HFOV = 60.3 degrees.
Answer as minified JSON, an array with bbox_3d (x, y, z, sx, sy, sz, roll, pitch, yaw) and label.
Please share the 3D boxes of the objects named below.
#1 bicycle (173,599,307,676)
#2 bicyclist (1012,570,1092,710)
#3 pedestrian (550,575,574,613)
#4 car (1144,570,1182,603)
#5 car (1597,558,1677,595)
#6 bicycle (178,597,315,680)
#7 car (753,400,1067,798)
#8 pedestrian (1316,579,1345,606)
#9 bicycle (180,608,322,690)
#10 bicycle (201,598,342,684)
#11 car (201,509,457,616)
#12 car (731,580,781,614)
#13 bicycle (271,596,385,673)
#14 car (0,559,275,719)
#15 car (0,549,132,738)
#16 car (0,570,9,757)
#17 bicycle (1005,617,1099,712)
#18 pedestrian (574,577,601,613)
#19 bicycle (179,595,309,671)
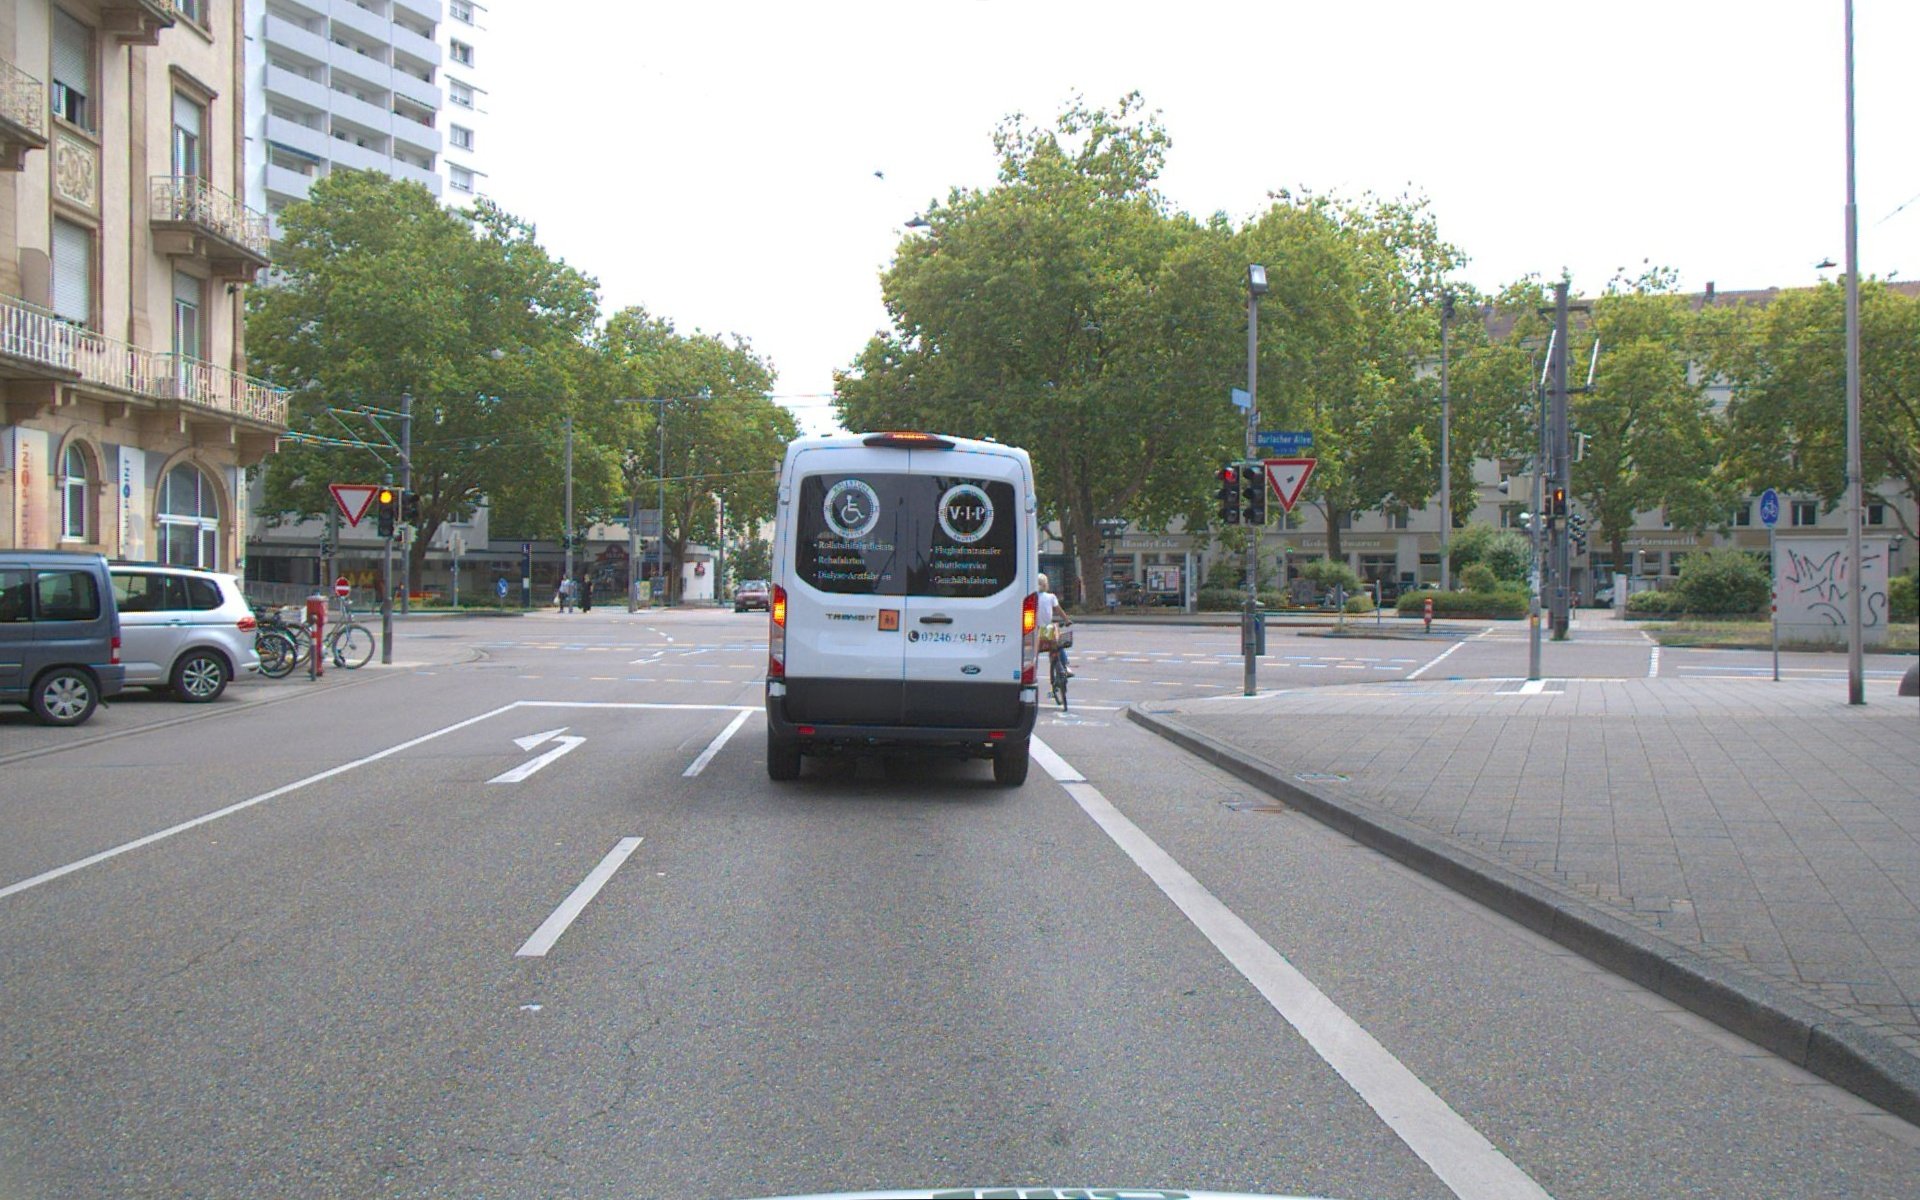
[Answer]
[{"bbox_3d":[-11.177,0.579,25.726,1.777,1.140,0.592,2,0,-11],"label":"bicycle"},{"bbox_3d":[1.144,0.486,20.679,0.886,1.713,0.756,0,1,-6],"label":"bicyclist"},{"bbox_3d":[-16.855,-0.270,70.055,0.790,1.600,0.724,0,1,11],"label":"pedestrian"},{"bbox_3d":[12.648,-0.850,103.278,1.952,1.964,4.001,0,1,1],"label":"car"},{"bbox_3d":[36.263,-1.247,88.648,3.905,1.915,1.857,0,1,21],"label":"car"},{"bbox_3d":[-10.821,0.579,25.135,1.777,1.186,0.592,2,0,-11],"label":"bicycle"},{"bbox_3d":[-0.508,-0.074,13.608,2.139,2.694,4.624,0,1,-5],"label":"car"},{"bbox_3d":[17.785,-0.356,79.395,1.069,1.257,1.441,-2,0,1],"label":"pedestrian"},{"bbox_3d":[-10.175,0.696,23.763,1.771,1.140,0.594,0,0,3],"label":"bicycle"},{"bbox_3d":[-10.161,0.601,24.435,1.772,1.139,0.594,3,0,1],"label":"bicycle"},{"bbox_3d":[-24.943,-1.455,65.364,9.682,3.983,3.455,0,1,22],"label":"car"},{"bbox_3d":[-9.540,-0.164,77.544,1.587,1.502,4.003,0,1,4],"label":"car"},{"bbox_3d":[-10.536,0.567,27.581,1.836,1.187,0.498,2,0,18],"label":"bicycle"},{"bbox_3d":[-10.607,0.415,19.967,3.979,1.804,1.769,-1,1,-42],"label":"car"},{"bbox_3d":[-10.820,0.437,16.836,3.979,1.911,1.769,-1,1,-42],"label":"car"},{"bbox_3d":[-10.596,0.581,14.171,3.979,1.680,1.769,-1,1,-42],"label":"car"},{"bbox_3d":[1.134,0.786,20.868,0.885,1.093,1.968,0,1,-6],"label":"bicycle"},{"bbox_3d":[-15.775,-0.223,70.048,0.909,1.541,0.724,0,1,11],"label":"pedestrian"},{"bbox_3d":[-11.419,0.529,26.409,1.777,1.140,0.592,2,0,-11],"label":"bicycle"}]
